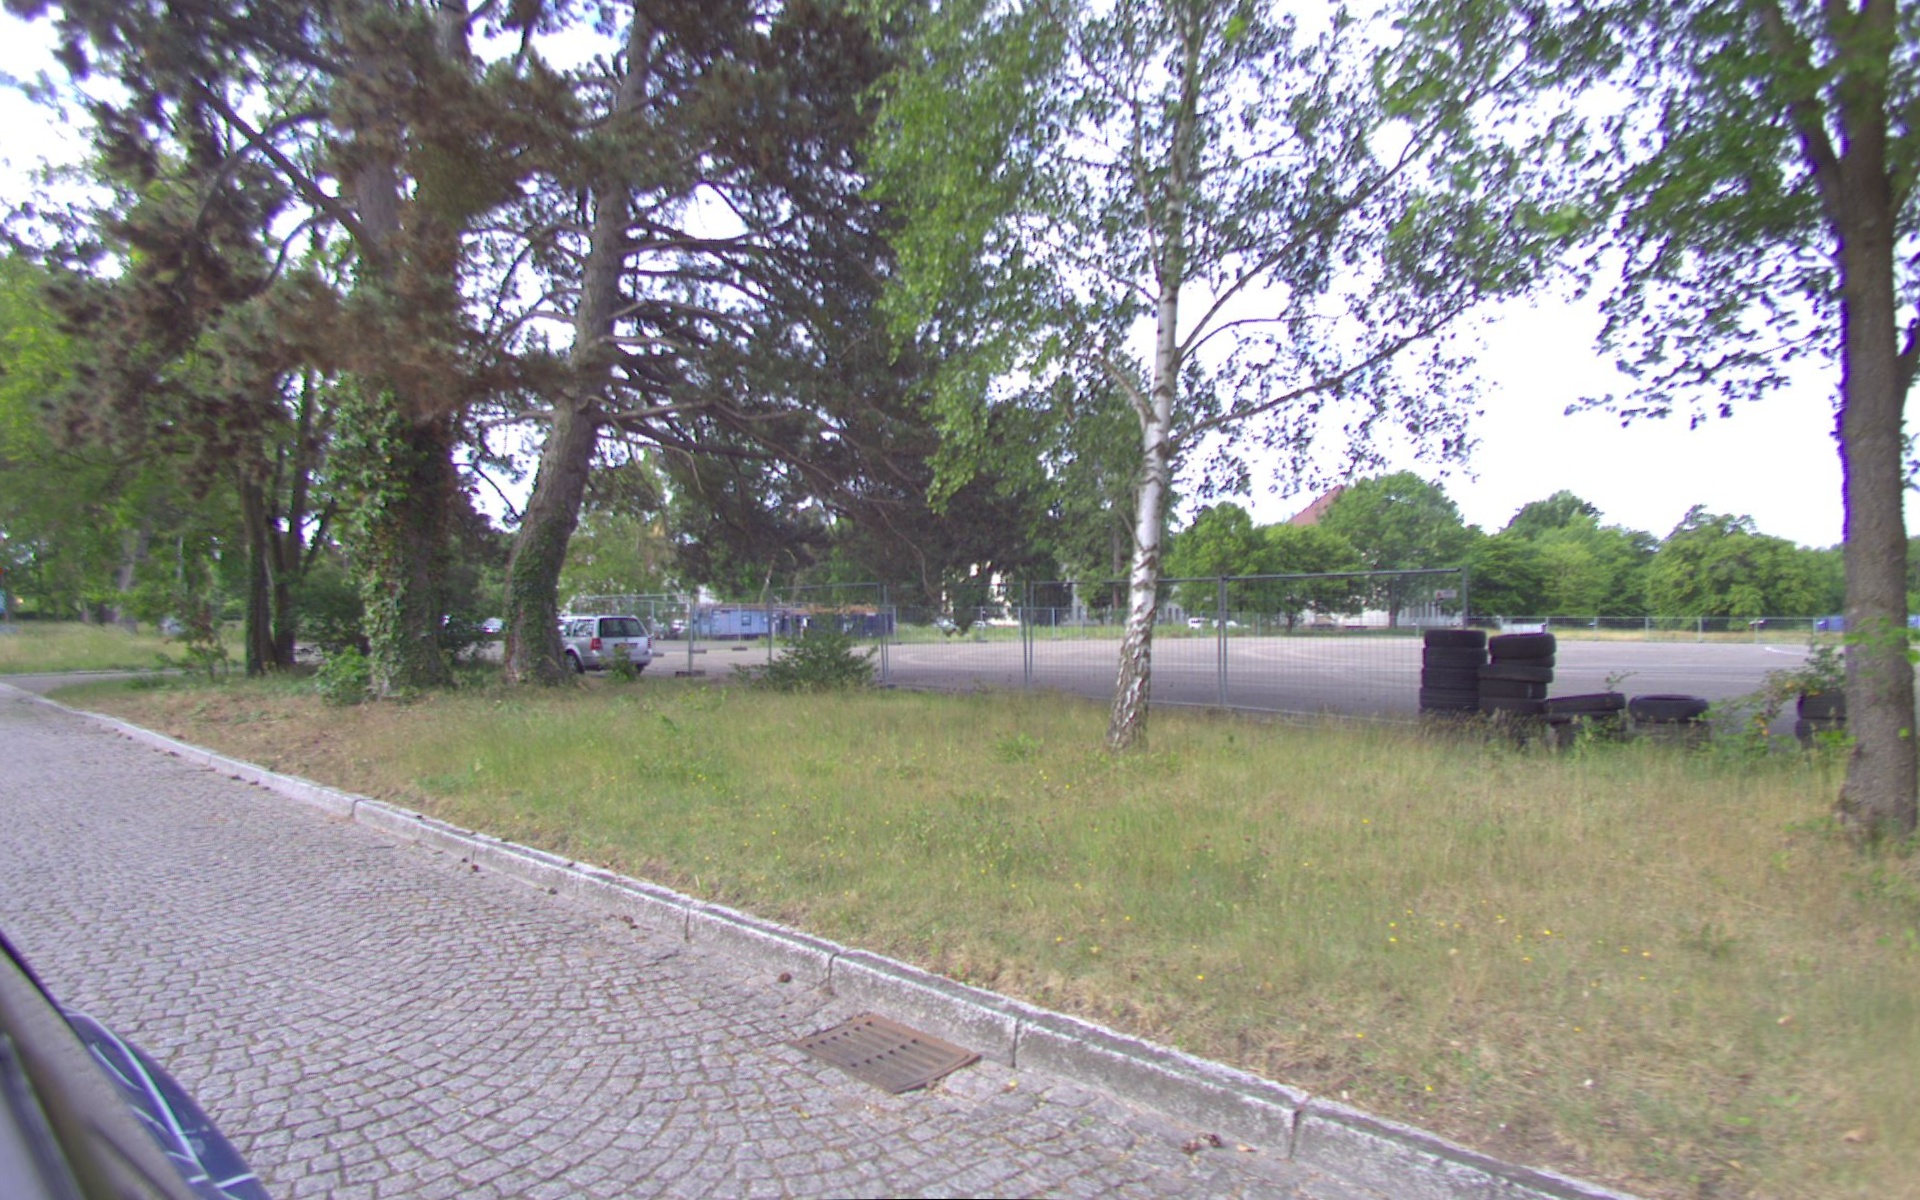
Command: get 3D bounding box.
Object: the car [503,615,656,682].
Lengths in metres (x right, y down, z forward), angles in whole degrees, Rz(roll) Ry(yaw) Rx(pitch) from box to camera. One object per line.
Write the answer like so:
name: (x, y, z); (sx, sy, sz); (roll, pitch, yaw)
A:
car: (-8.830, 1.069, 23.400); (3.719, 1.421, 1.649); (-1, -2, 38)

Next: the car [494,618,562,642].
car: (-26.643, 1.824, 62.353); (4.446, 1.460, 1.975); (-1, -1, 37)

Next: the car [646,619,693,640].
car: (-23.584, 2.368, 82.036); (3.797, 1.696, 1.728); (-1, -1, 36)

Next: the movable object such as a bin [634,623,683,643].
movable object such as a bin: (-16.312, 1.764, 54.752); (2.712, 1.079, 1.046); (-1, -1, 32)

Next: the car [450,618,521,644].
car: (-28.077, 1.800, 59.831); (4.446, 1.460, 1.975); (-1, -1, 37)
